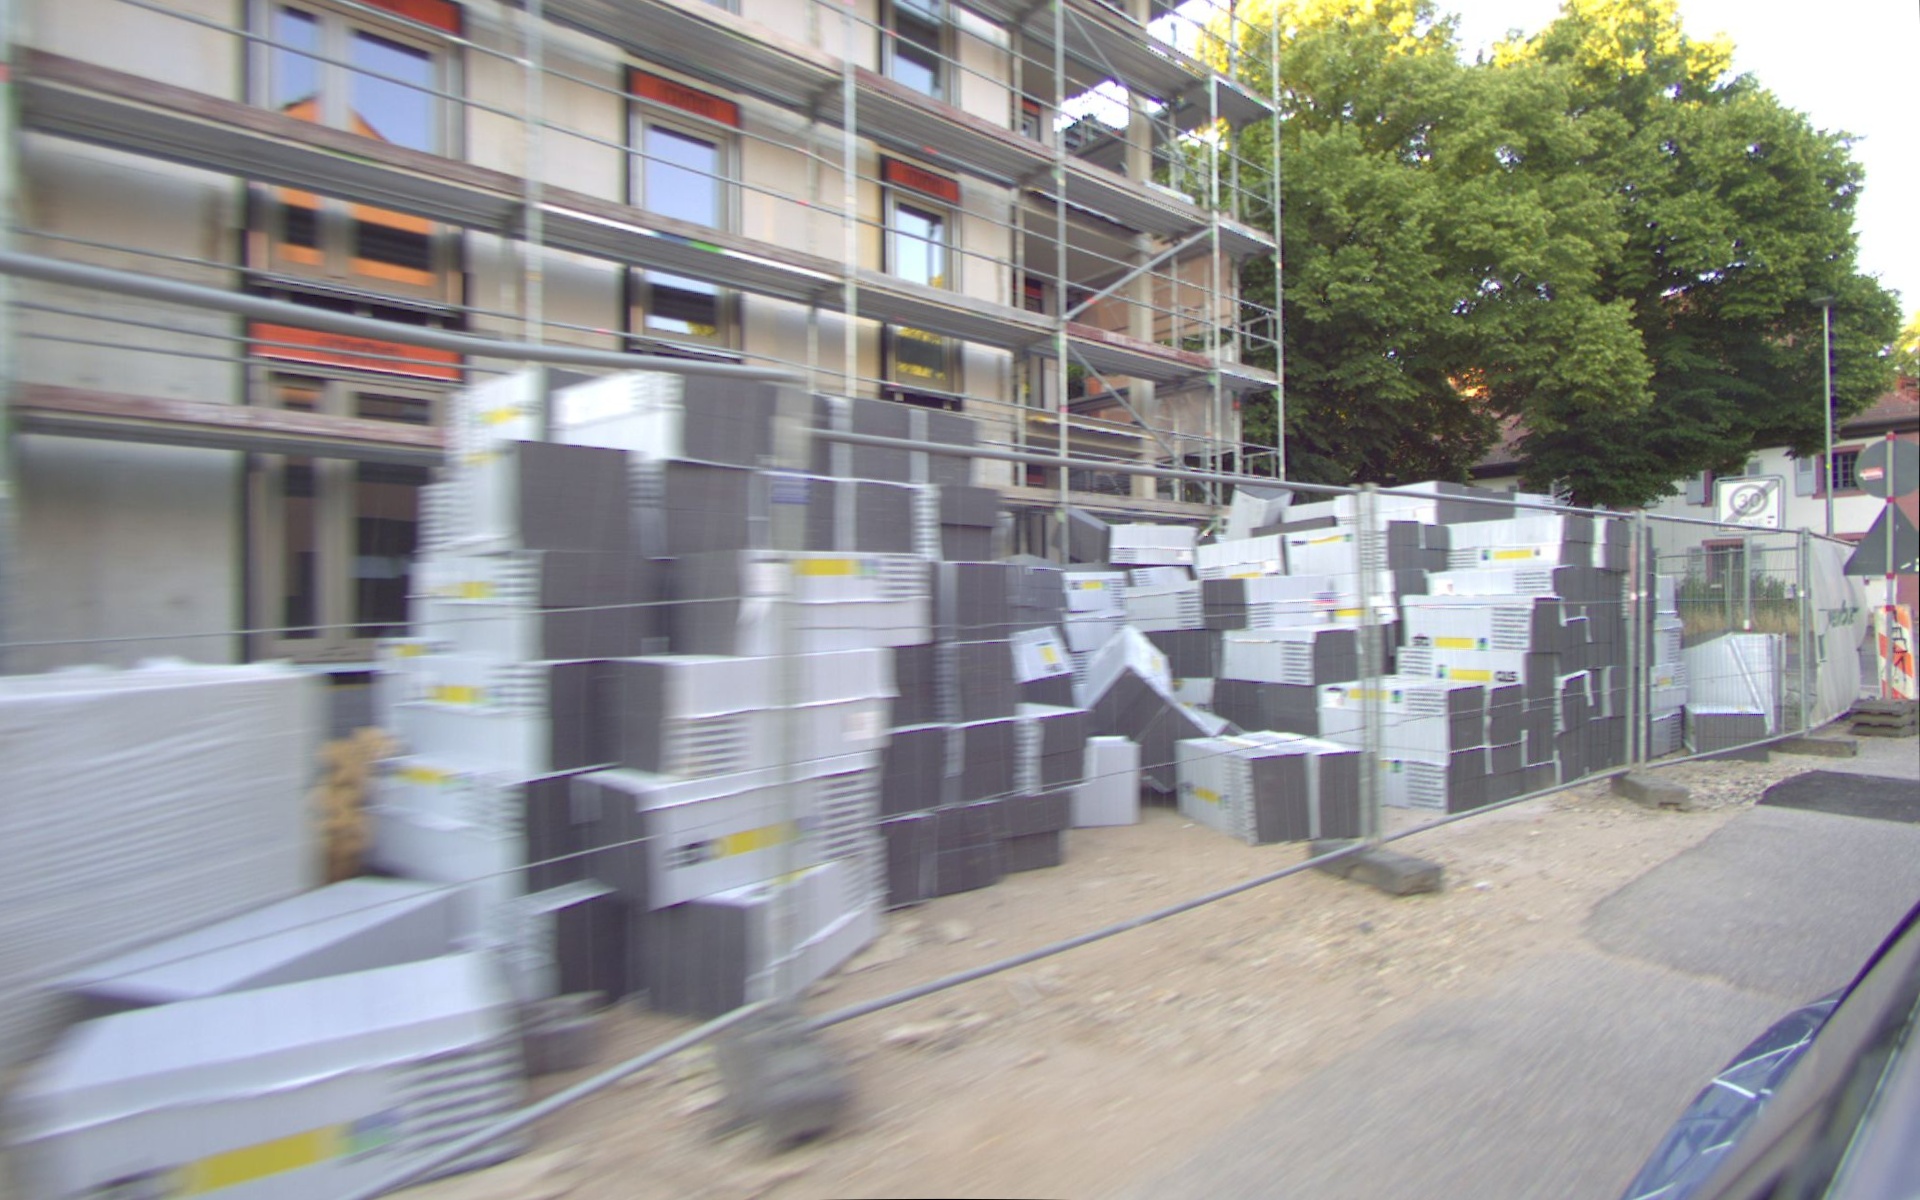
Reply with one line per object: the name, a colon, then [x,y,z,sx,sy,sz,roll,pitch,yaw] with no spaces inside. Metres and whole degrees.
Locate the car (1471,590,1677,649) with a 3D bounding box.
car: [16.262,0.534,26.999,1.592,1.431,4.401,0,-1,-41]
